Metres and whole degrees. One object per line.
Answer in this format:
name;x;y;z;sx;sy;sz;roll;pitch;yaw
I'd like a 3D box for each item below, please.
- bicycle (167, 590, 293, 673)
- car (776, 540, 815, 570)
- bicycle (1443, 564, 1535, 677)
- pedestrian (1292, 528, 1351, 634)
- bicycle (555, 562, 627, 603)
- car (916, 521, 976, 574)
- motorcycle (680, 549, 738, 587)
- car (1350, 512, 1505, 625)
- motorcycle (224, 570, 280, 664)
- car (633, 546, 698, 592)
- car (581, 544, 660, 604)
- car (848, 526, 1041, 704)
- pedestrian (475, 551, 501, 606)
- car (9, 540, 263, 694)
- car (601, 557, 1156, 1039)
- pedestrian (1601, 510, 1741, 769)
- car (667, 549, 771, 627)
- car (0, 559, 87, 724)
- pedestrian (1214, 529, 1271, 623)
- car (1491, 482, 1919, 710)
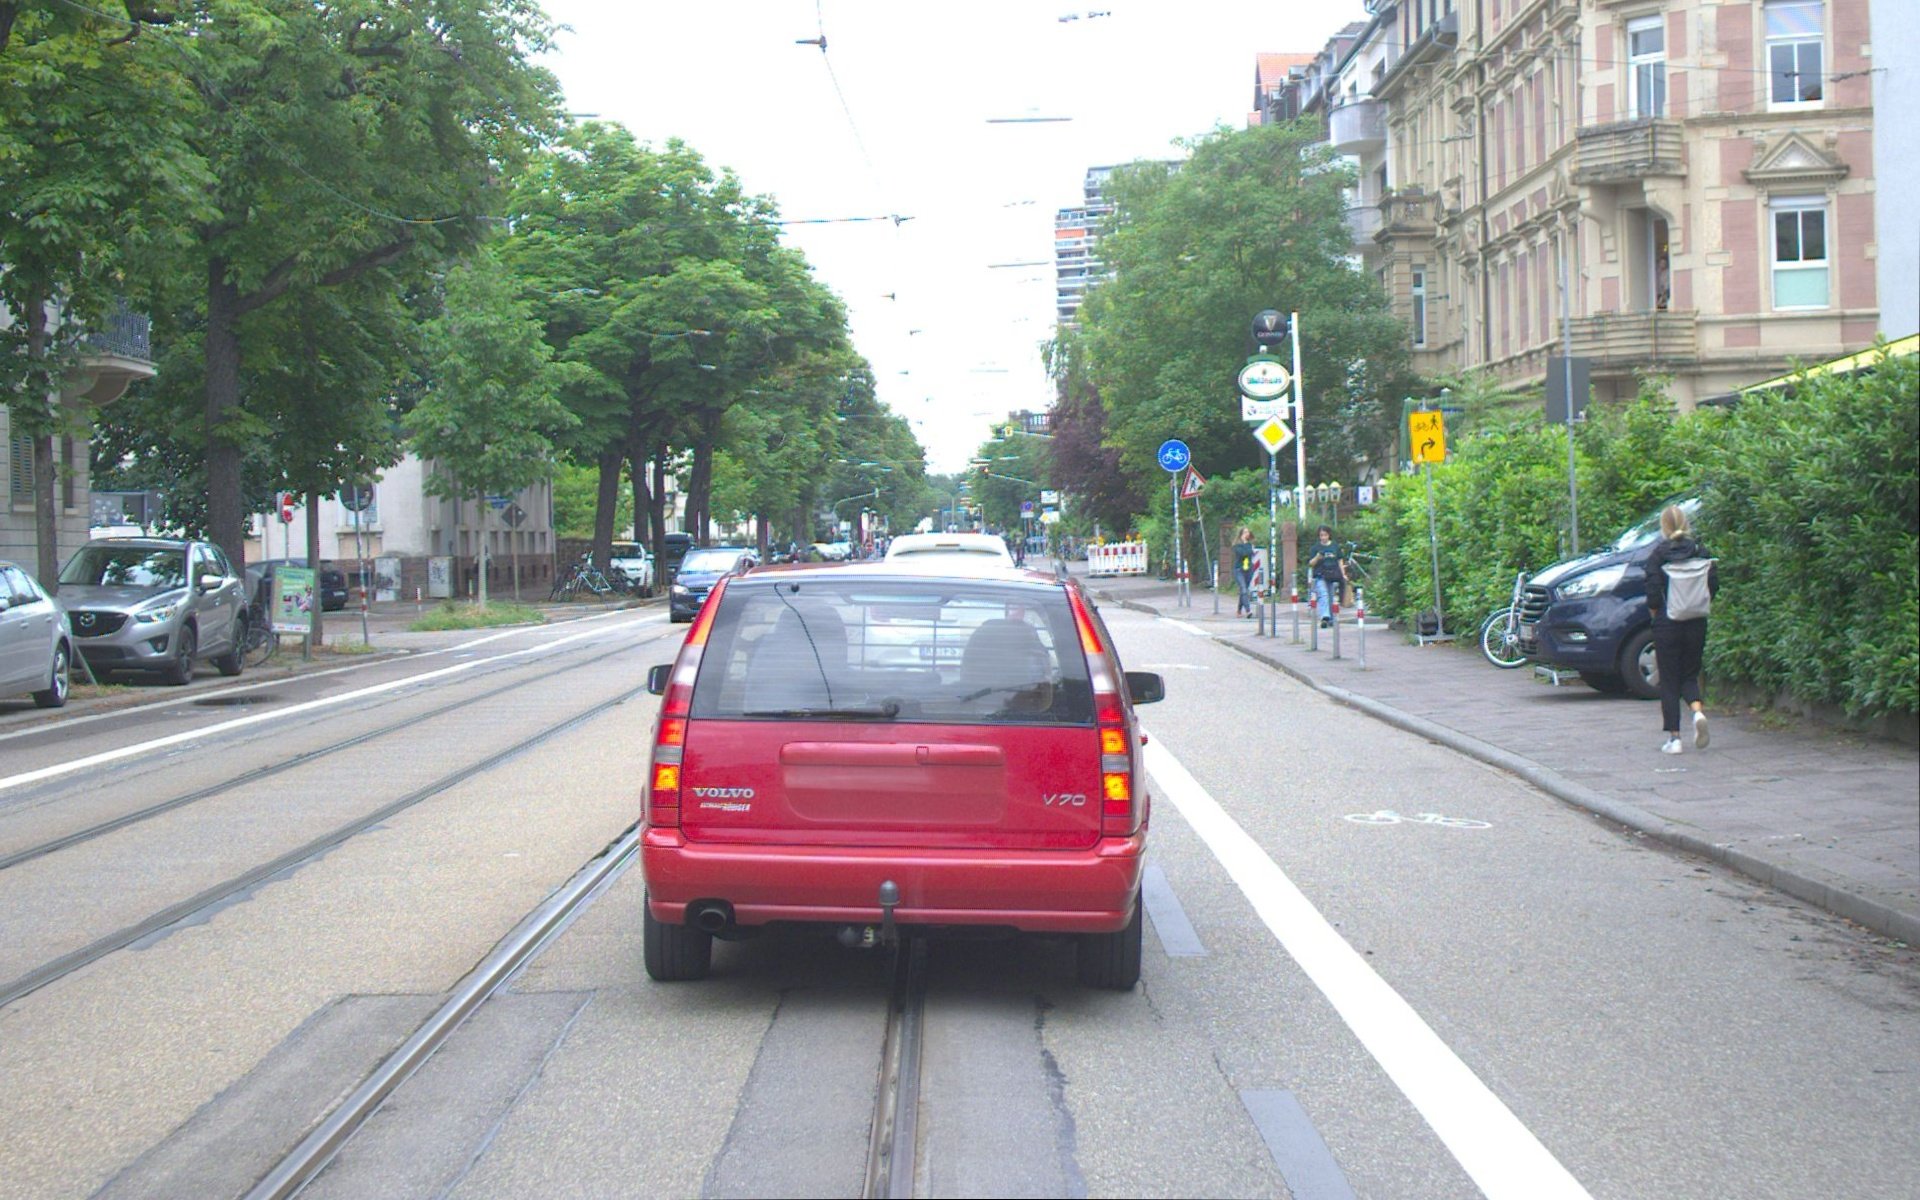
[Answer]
bicycle;-9.415;0.403;44.373;1.376;1.001;0.929;2;1;4
car;-8.821;-2.408;184.573;1.851;1.558;3.943;-1;1;0
bicycle;5.672;0.205;36.940;0.632;1.124;1.812;-3;2;0
pedestrian;5.718;-0.304;54.410;0.793;1.630;0.836;-3;0;0
bicycle;-10.166;-0.485;94.755;1.922;1.117;0.624;0;1;0
car;-0.465;-1.657;108.265;1.741;1.600;4.000;-1;1;-2
motorcycle;-10.196;-1.281;139.650;2.269;1.506;0.925;-1;-1;35
car;8.322;-0.594;60.834;2.053;1.871;5.026;-1;1;15
motorcycle;-9.808;0.218;47.661;0.539;1.253;2.143;-1;1;-6
car;-10.060;-1.078;117.700;1.777;1.505;4.237;0;1;1
car;-9.711;-0.761;98.535;1.897;1.650;4.226;-1;1;-1
car;-0.099;0.108;33.869;1.719;1.619;3.941;-1;1;2
pedestrian;-12.689;-0.579;92.457;0.564;1.462;0.723;-1;1;0
car;-9.496;0.149;39.933;1.837;1.655;4.293;1;1;1
car;-0.166;0.580;12.346;1.689;1.436;3.743;0;1;3
pedestrian;4.771;0.251;23.111;0.623;1.665;0.960;-4;1;-1
car;-4.619;-0.245;66.222;1.729;1.404;3.655;-1;1;0
car;-9.558;0.376;31.826;1.811;1.461;4.614;-1;1;-1
pedestrian;5.033;-0.428;61.216;0.873;1.650;0.908;-1;1;13
car;7.029;-0.074;30.615;4.281;1.803;1.823;-3;1;2
